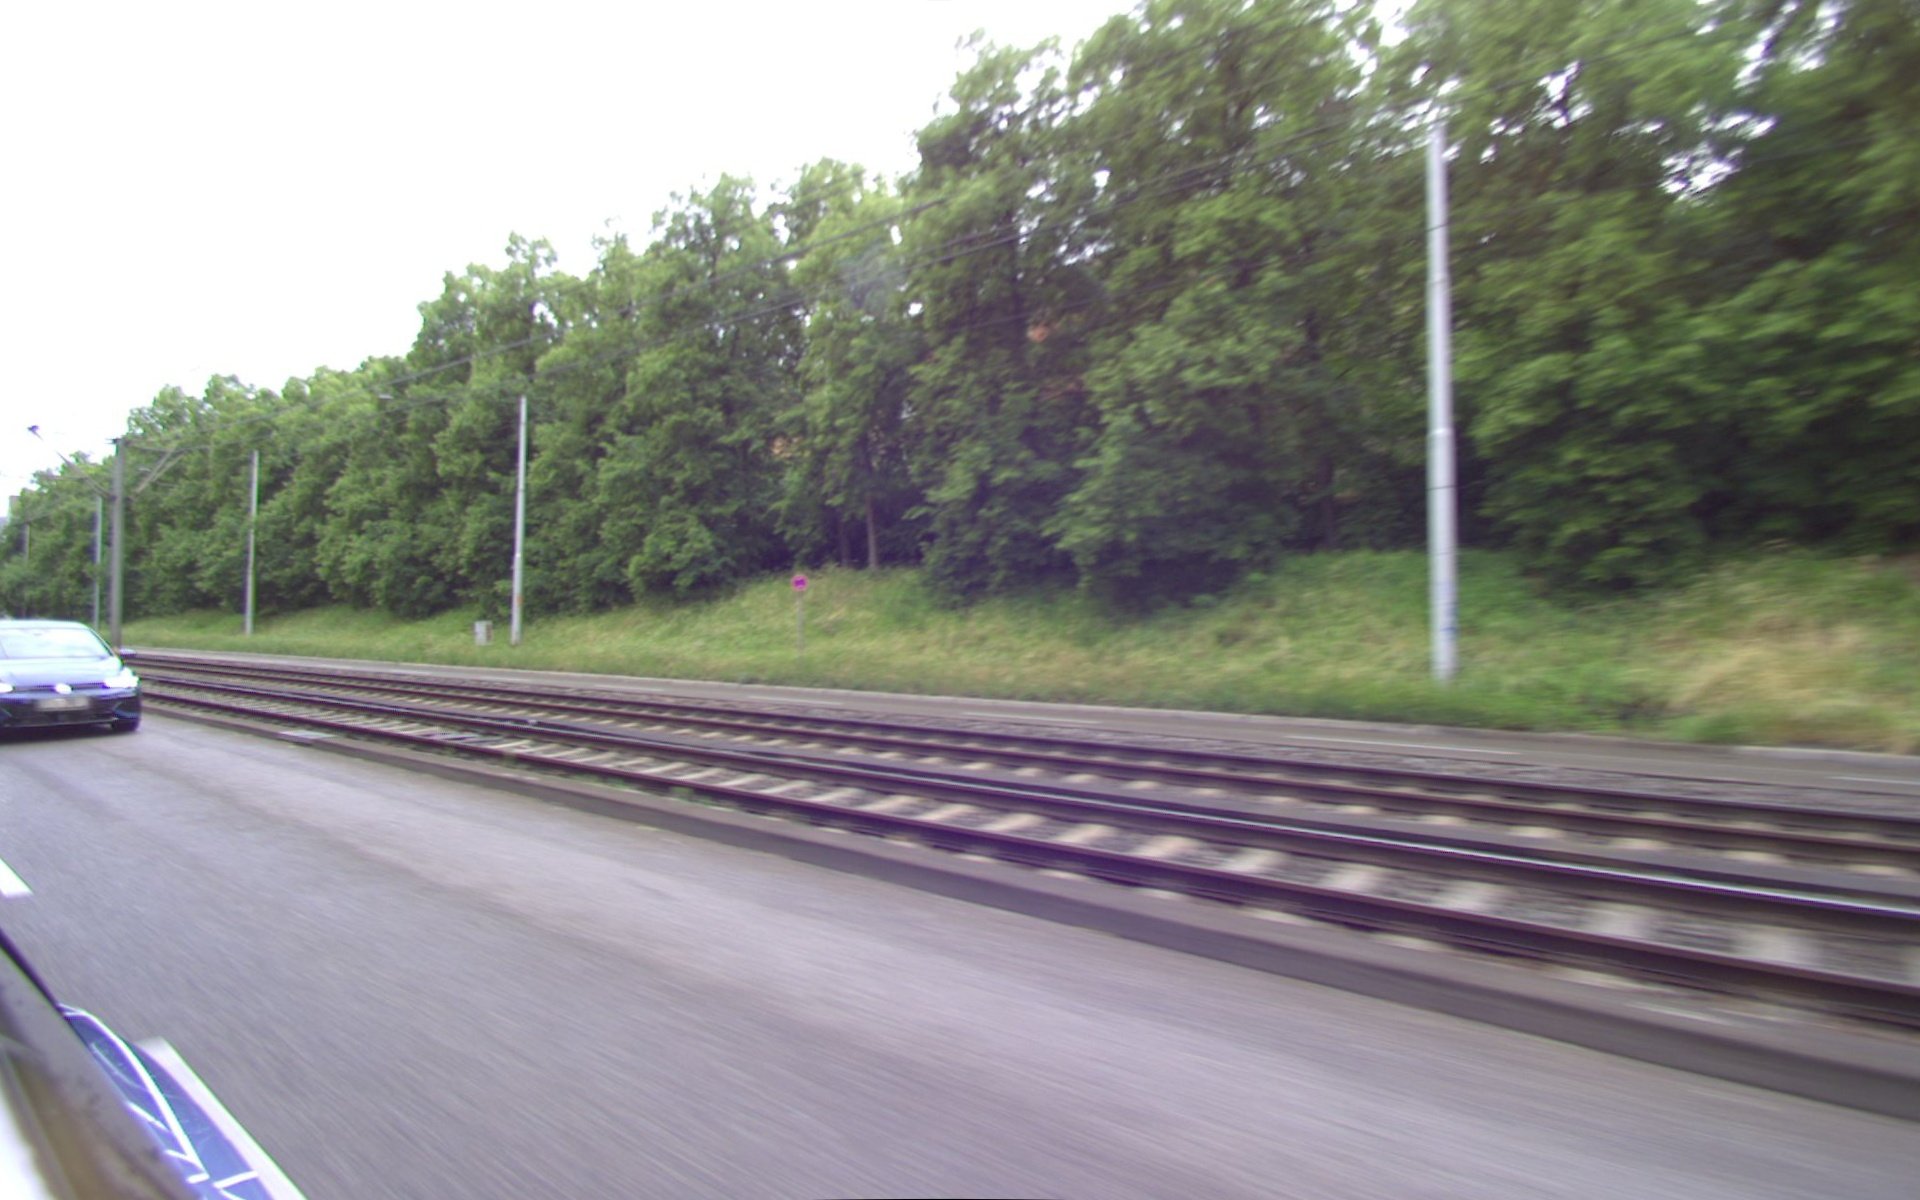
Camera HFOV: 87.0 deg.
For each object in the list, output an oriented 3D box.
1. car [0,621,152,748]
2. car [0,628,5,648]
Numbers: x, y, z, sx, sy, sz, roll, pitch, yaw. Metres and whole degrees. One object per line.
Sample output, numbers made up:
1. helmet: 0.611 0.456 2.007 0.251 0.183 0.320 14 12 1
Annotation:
1. car: -12.196 1.020 13.228 3.829 1.459 1.749 -1 -3 39
2. car: -73.713 2.840 76.432 4.021 1.454 1.654 -1 -5 38
